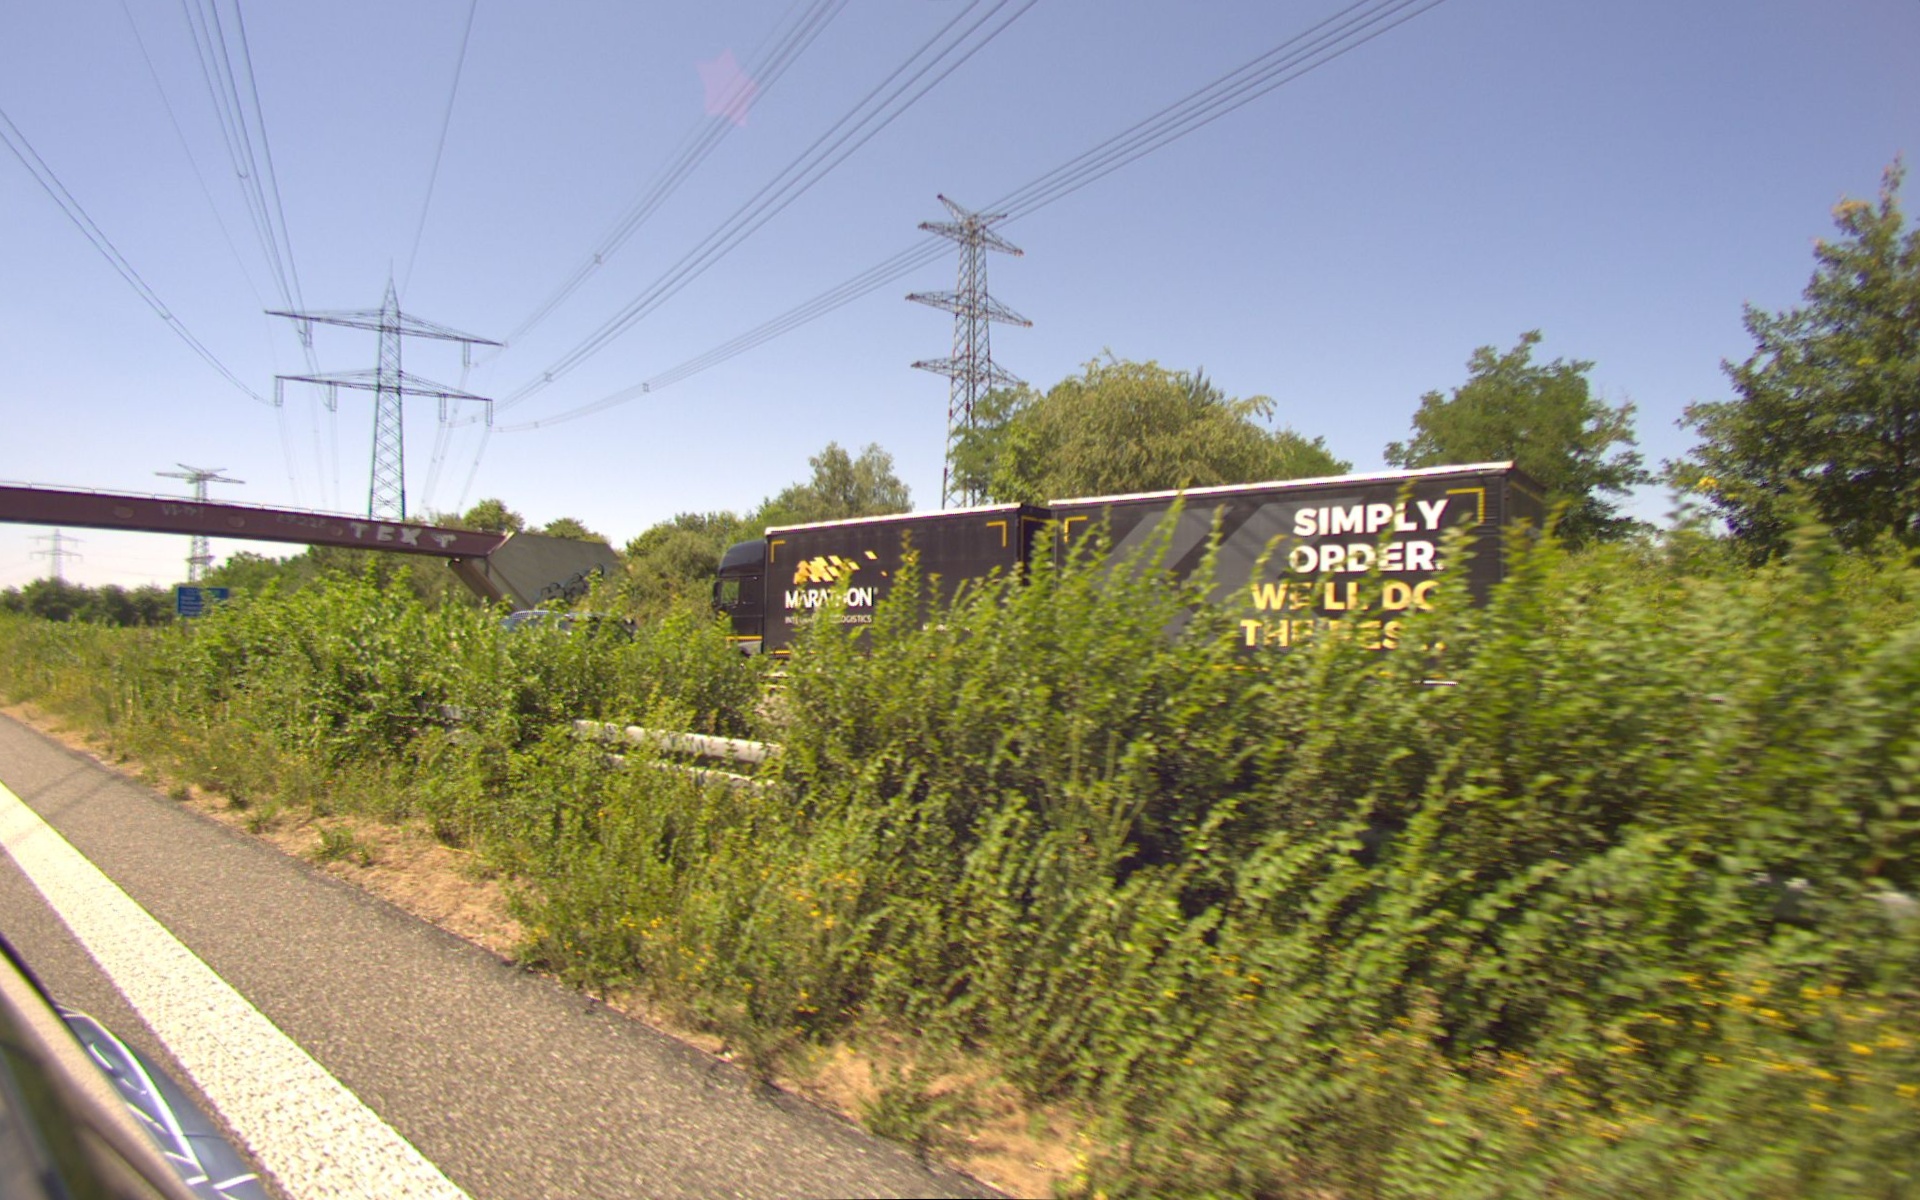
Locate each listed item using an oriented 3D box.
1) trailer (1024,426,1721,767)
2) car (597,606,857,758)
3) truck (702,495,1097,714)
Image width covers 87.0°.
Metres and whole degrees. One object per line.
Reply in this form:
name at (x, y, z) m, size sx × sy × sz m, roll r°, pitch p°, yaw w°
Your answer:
trailer at (5.979, 0.058, 16.663) m, size 10.293 × 4.127 × 2.737 m, roll -1°, pitch -3°, yaw 41°
car at (-3.198, 1.005, 13.555) m, size 3.596 × 1.763 × 1.576 m, roll -1°, pitch -3°, yaw 41°
truck at (-1.859, 0.186, 23.562) m, size 10.211 × 4.153 × 2.729 m, roll -1°, pitch -2°, yaw 41°
